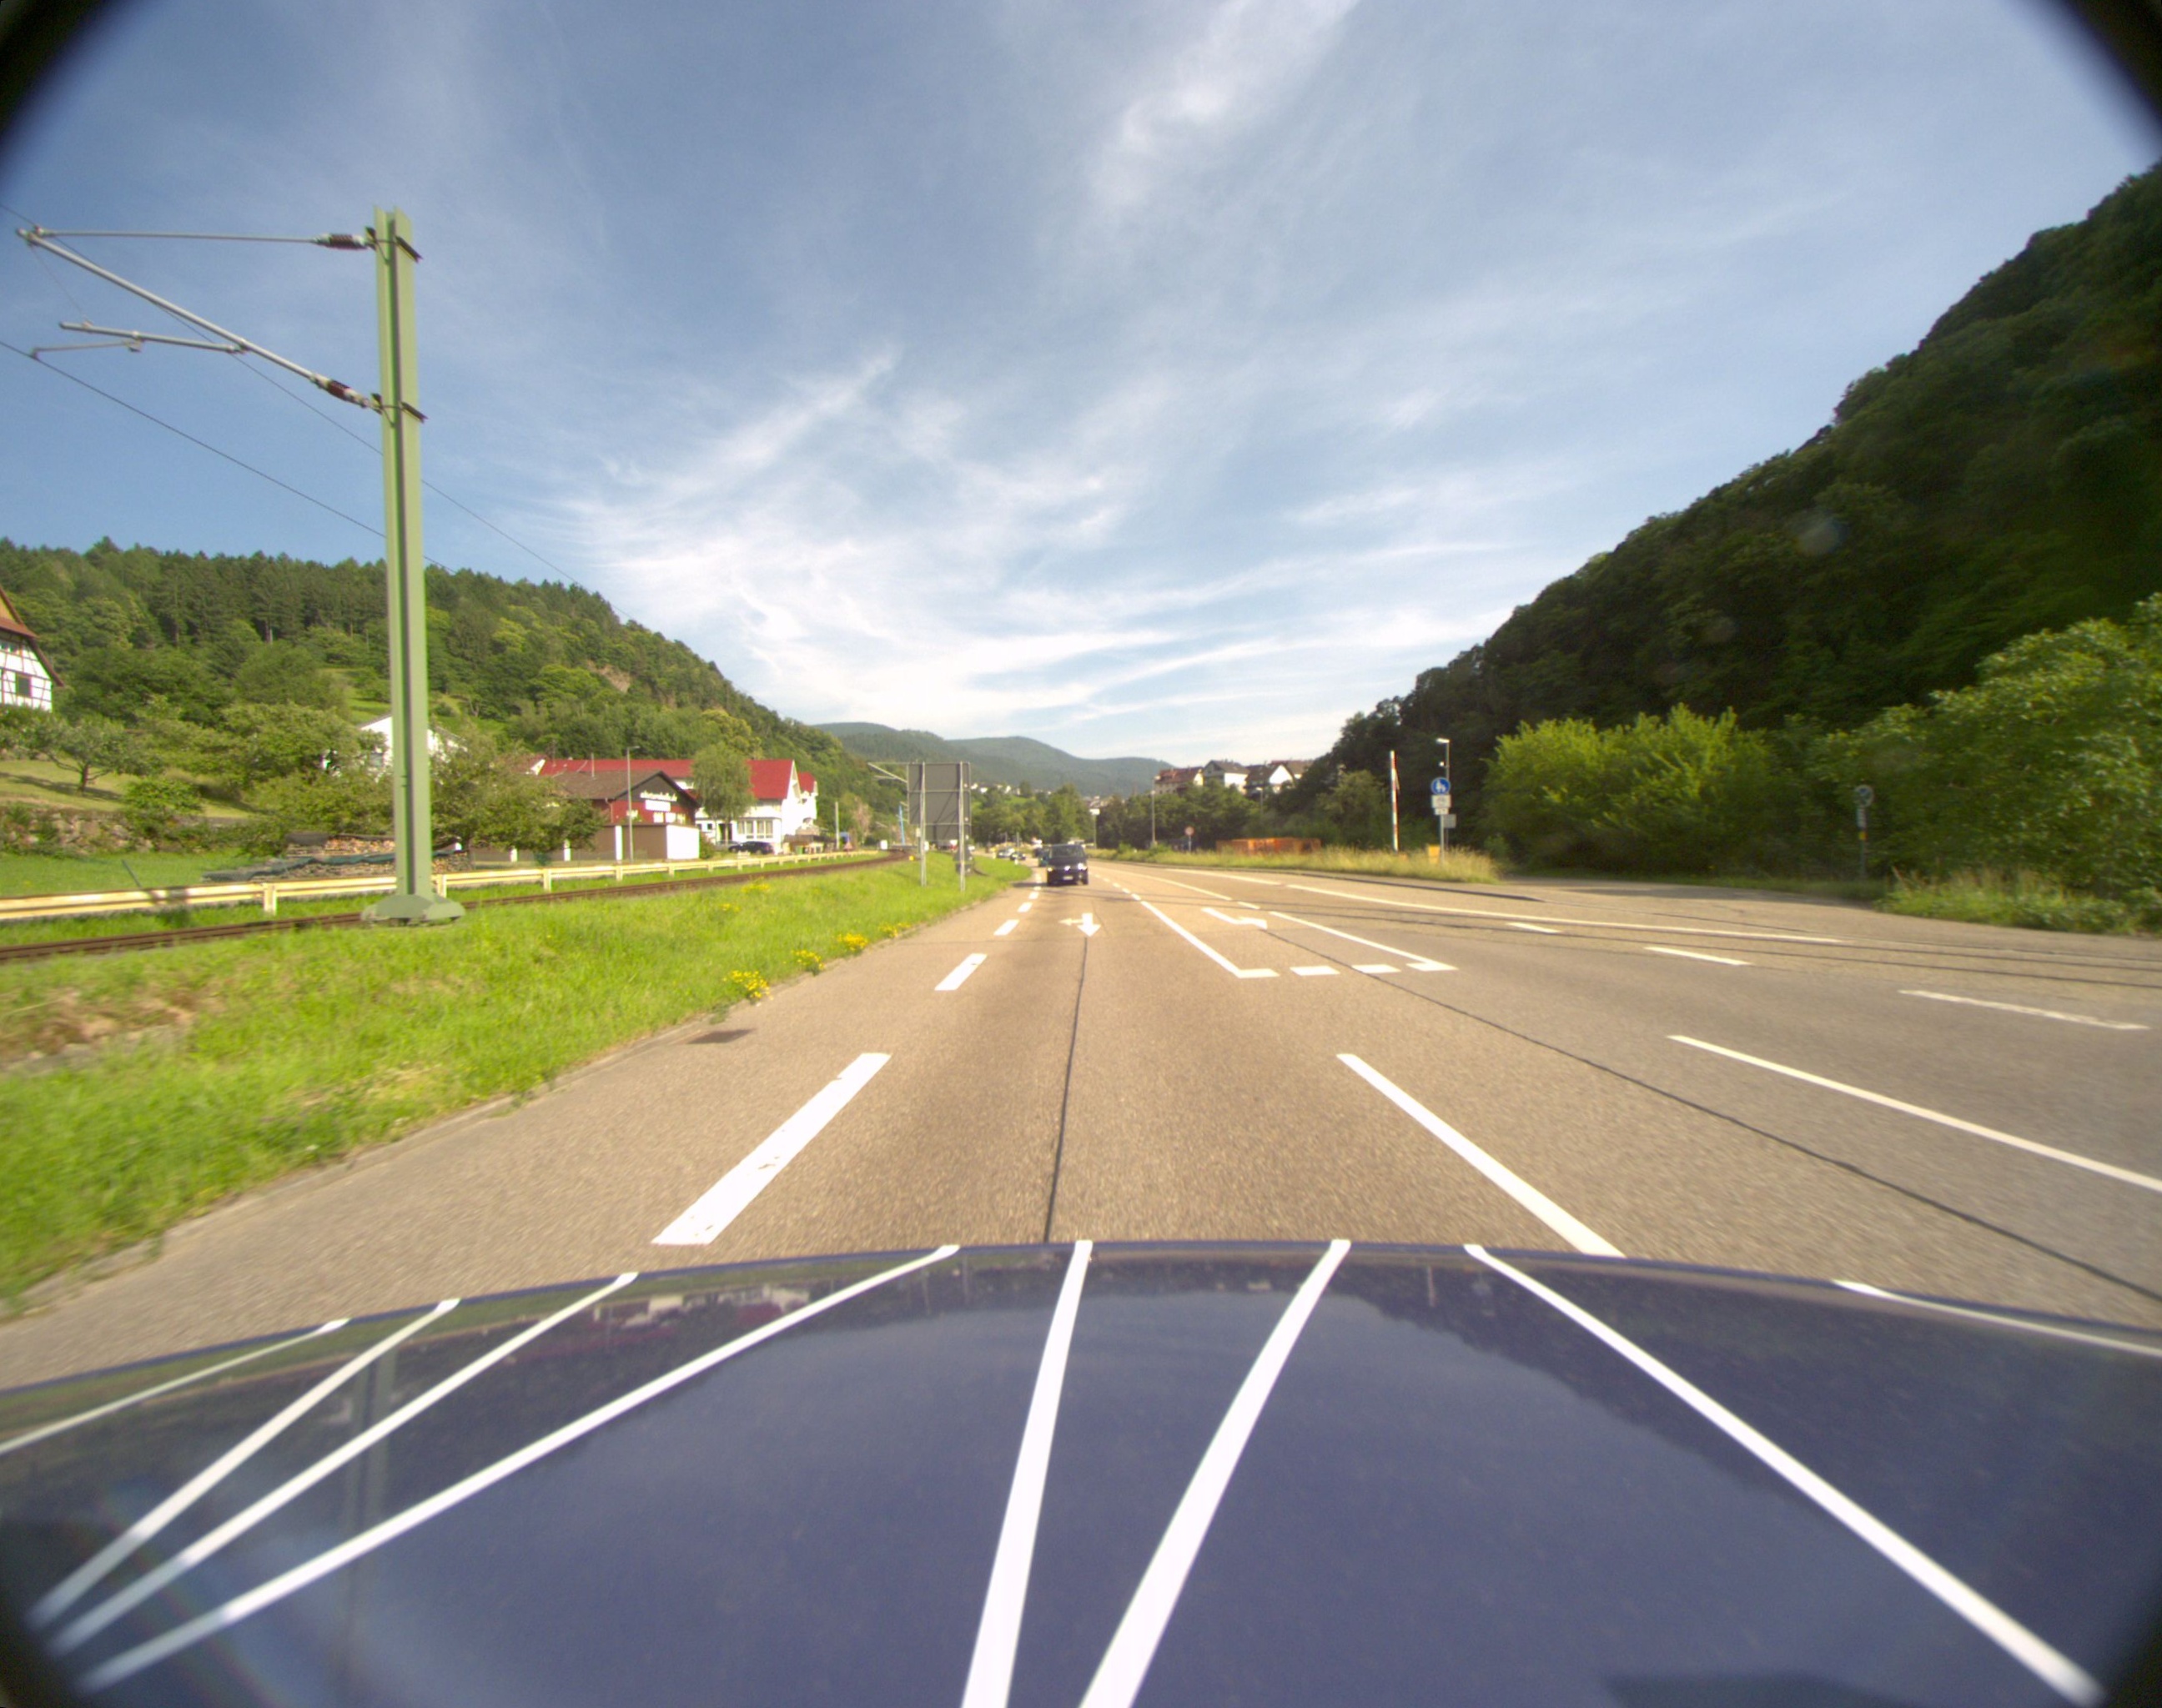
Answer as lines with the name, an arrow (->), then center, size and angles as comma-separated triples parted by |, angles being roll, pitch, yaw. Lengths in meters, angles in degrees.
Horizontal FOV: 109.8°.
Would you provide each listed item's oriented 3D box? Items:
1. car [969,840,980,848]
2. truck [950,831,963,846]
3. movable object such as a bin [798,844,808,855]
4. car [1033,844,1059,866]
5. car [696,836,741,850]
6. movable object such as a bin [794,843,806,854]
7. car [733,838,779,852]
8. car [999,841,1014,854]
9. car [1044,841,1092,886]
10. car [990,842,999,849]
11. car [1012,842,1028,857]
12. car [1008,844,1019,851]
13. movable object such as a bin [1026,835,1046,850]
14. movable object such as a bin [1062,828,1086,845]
car -> -26.275, -2.416, 187.289 | 2.002, 2.002, 3.993 | 1, 1, -18
truck -> -35.194, -4.327, 213.809 | 2.759, 3.814, 14.542 | -3, 1, -12
movable object such as a bin -> -28.416, -0.490, 77.665 | 0.810, 1.044, 0.911 | -3, 1, -8
car -> -3.353, 0.090, 71.960 | 2.000, 2.002, 3.996 | 1, 1, -9
car -> -39.304, -1.212, 82.534 | 4.000, 1.368, 1.824 | 2, 0, -8
movable object such as a bin -> -28.323, -0.541, 76.578 | 0.810, 1.044, 0.911 | -3, 1, -8
car -> -34.253, -0.942, 80.168 | 3.999, 1.368, 1.824 | 1, 1, -5
car -> -12.309, -1.061, 125.710 | 2.001, 2.002, 3.995 | 1, 1, -12
car -> -0.677, 0.449, 35.912 | 1.999, 2.001, 3.999 | -1, -1, -4
car -> -18.860, -1.866, 166.352 | 1.729, 1.615, 3.792 | -3, 1, -8
car -> -8.450, -0.645, 105.530 | 2.000, 2.002, 3.997 | 1, 1, -7
car -> -13.077, -1.228, 146.814 | 1.784, 1.340, 4.506 | -4, 1, -10
movable object such as a bin -> -11.848, -3.008, 198.311 | 2.734, 3.925, 7.213 | 0, 1, -25
movable object such as a bin -> -1.727, -4.251, 182.374 | 2.911, 3.925, 7.791 | 0, 1, -25
